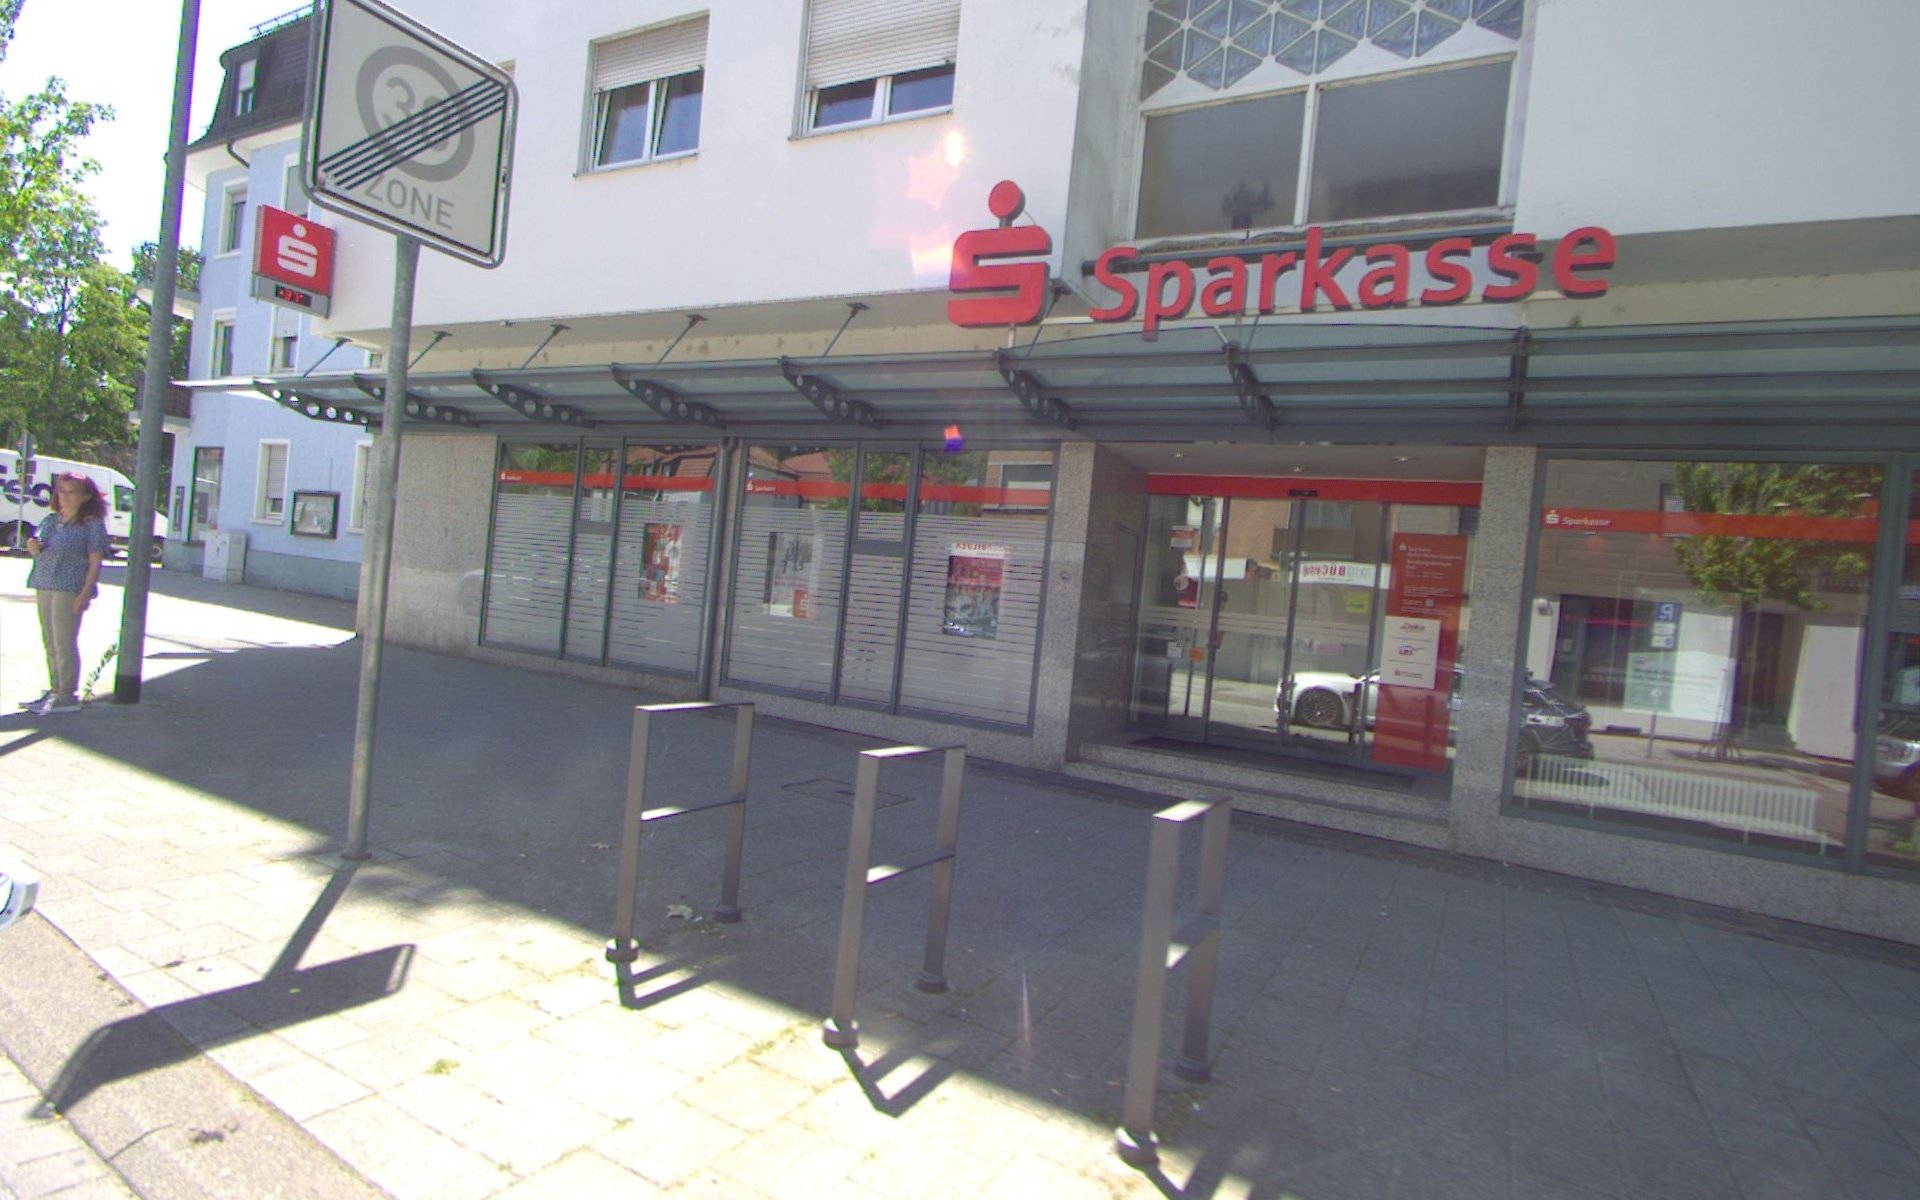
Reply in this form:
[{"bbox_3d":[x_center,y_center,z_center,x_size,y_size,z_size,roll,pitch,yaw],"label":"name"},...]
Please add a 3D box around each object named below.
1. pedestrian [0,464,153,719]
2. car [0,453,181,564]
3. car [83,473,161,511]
[{"bbox_3d":[-6.149,-0.054,6.880,0.550,1.630,0.733,7,1,31],"label":"pedestrian"},{"bbox_3d":[-24.915,-2.508,27.565,1.962,2.512,5.486,6,0,13],"label":"car"},{"bbox_3d":[-59.829,-7.705,71.917,3.962,2.039,1.981,6,0,-35],"label":"car"}]
